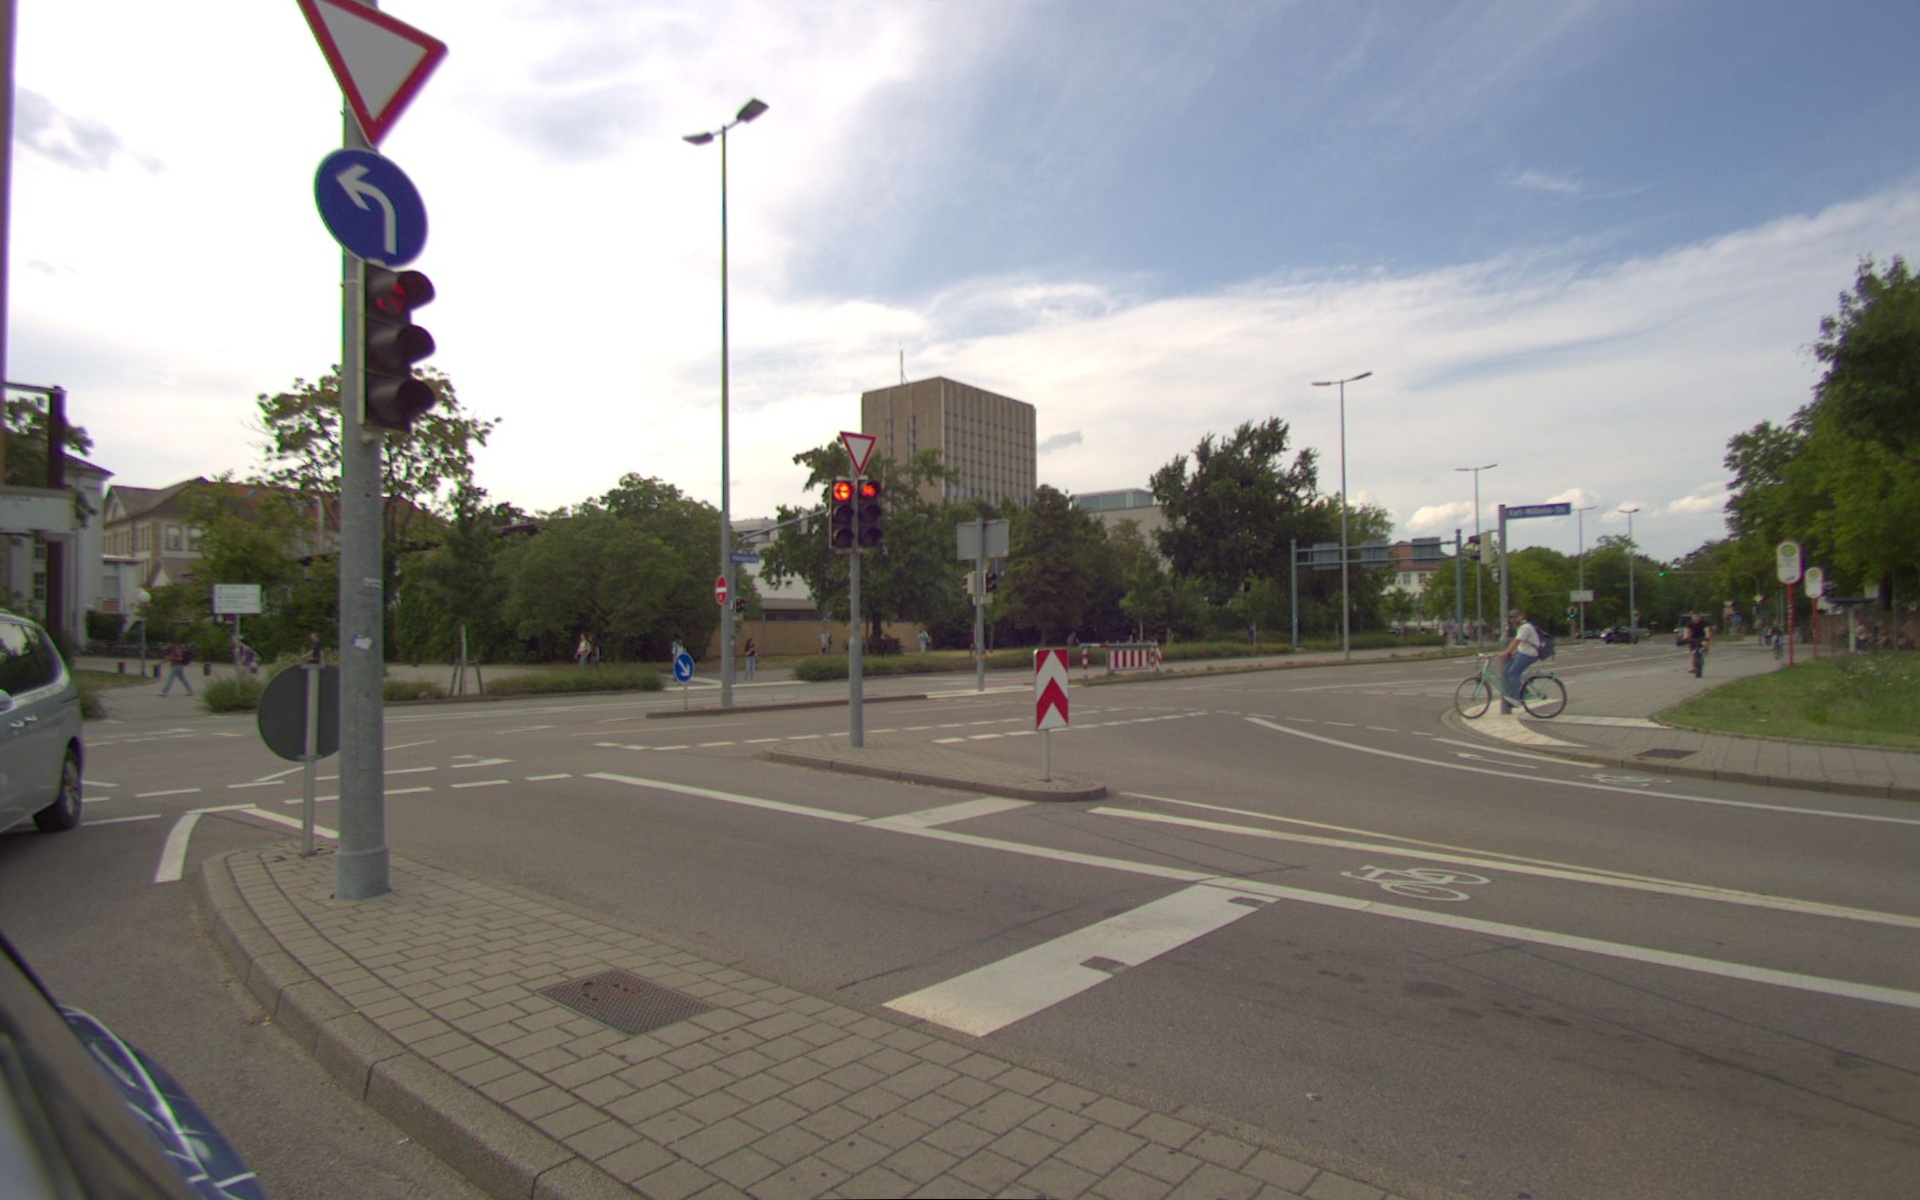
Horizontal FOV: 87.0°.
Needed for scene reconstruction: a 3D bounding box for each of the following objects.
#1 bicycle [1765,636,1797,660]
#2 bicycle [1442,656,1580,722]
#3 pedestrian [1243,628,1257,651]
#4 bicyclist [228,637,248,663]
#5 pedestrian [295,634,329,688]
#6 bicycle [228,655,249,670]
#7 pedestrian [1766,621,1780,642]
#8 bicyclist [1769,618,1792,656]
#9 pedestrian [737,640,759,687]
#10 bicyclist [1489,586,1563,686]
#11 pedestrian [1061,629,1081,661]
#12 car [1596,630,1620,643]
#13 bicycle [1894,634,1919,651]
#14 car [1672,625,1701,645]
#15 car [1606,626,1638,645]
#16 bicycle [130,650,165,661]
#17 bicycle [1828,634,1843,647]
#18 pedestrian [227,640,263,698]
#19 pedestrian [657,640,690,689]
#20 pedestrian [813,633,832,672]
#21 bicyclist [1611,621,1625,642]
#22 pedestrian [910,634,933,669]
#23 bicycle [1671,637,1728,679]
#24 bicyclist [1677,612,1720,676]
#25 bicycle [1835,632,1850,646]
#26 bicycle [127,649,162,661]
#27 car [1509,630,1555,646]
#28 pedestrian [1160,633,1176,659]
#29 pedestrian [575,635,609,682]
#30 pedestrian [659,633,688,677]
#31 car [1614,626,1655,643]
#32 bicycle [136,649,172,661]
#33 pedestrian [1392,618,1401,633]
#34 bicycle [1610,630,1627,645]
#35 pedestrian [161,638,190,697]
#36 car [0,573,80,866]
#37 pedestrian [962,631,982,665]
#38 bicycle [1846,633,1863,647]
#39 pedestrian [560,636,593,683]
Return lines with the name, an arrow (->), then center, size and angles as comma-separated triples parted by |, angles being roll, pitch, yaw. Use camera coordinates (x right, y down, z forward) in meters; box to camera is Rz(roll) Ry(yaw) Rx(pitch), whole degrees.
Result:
bicycle -> 35.194, 2.049, 43.365 | 1.939, 0.943, 0.507 | -2, -1, -34
bicycle -> 8.900, 1.424, 16.368 | 1.942, 0.943, 0.506 | -2, -1, -4
pedestrian -> 21.864, 2.957, 76.217 | 0.714, 1.724, 0.685 | -5, -4, 42
bicyclist -> -37.291, 2.567, 52.298 | 0.826, 1.287, 1.015 | 0, -4, -35
pedestrian -> -21.178, 1.989, 33.060 | 0.788, 1.724, 0.840 | 1, -4, -44
bicycle -> -37.275, 3.222, 52.278 | 0.829, 0.699, 1.850 | 0, -4, -34
pedestrian -> 64.394, 2.477, 80.166 | 0.753, 1.634, 0.657 | -5, -4, 37
bicyclist -> 35.154, 1.586, 43.369 | 0.784, 1.567, 0.496 | -2, -1, -34
pedestrian -> -7.813, 2.335, 37.313 | 0.579, 1.724, 0.482 | 0, -4, -42
bicyclist -> 9.141, 0.576, 16.363 | 0.786, 1.567, 0.580 | -2, -1, -4
pedestrian -> 6.093, 2.452, 55.468 | 0.683, 1.724, 0.735 | 1, -4, -44
car -> 77.518, 4.355, 120.986 | 1.790, 1.501, 4.072 | 0, -1, 42
bicycle -> 52.210, 2.327, 55.650 | 0.657, 0.894, 1.564 | -5, -4, 22
car -> 57.903, 2.786, 80.630 | 1.698, 1.492, 4.360 | -5, -4, 37
car -> 57.488, 3.059, 87.852 | 1.790, 1.501, 4.072 | 0, -1, 42
bicycle -> -55.160, 3.761, 68.710 | 1.816, 0.699, 0.653 | 0, -4, -40
bicycle -> 60.047, 2.767, 69.391 | 0.432, 0.894, 1.559 | -6, -5, 31
pedestrian -> -21.850, 2.114, 30.919 | 0.788, 1.724, 0.840 | 1, -4, -44
pedestrian -> -10.237, 2.305, 36.169 | 0.827, 1.724, 0.801 | 0, -4, -42
pedestrian -> -6.251, 2.365, 45.942 | 0.544, 1.709, 0.686 | 0, -1, 39
bicyclist -> 54.759, 2.648, 84.203 | 1.070, 1.724, 0.779 | 3, -2, -45
pedestrian -> -1.919, 2.555, 50.321 | 0.841, 1.724, 0.686 | -5, -4, 39
bicycle -> 18.832, 1.472, 25.758 | 1.939, 0.943, 0.507 | -2, -1, -34
bicyclist -> 18.826, 1.111, 25.787 | 0.784, 1.567, 0.581 | -2, -1, -34
bicycle -> 59.090, 2.631, 67.783 | 0.432, 0.894, 1.559 | -6, -5, 31
bicycle -> -54.620, 3.694, 67.830 | 1.816, 0.699, 0.653 | 0, -4, -40
car -> 60.076, 3.984, 106.335 | 1.759, 1.501, 4.143 | 1, 0, -17
pedestrian -> 13.964, 3.110, 67.968 | 0.714, 1.724, 0.685 | -5, -4, 42
pedestrian -> -13.766, 2.192, 37.865 | 0.835, 1.724, 0.792 | -4, -3, 27
pedestrian -> -11.524, 2.213, 40.706 | 0.714, 1.724, 0.789 | -5, -4, 39
car -> 63.899, 3.272, 95.980 | 1.771, 1.501, 4.116 | 0, 0, 11
bicycle -> -51.816, 3.512, 65.093 | 1.816, 0.699, 0.653 | 0, -4, -40
pedestrian -> 53.368, 3.121, 123.718 | 0.769, 1.724, 0.685 | -5, -4, 42
bicycle -> 54.726, 3.151, 84.113 | 0.759, 1.198, 2.068 | 0, -2, 44
pedestrian -> -23.528, 2.015, 30.342 | 0.624, 1.724, 0.674 | 1, -4, -44
car -> -6.703, 0.746, 5.883 | 1.795, 1.747, 4.540 | 0, -4, -33
pedestrian -> 0.607, 2.528, 52.931 | 0.714, 1.724, 0.685 | -5, -4, 42
bicycle -> 57.036, 2.552, 64.550 | 0.432, 0.894, 1.559 | -6, -5, 31
pedestrian -> -14.536, 2.242, 38.335 | 0.835, 1.724, 0.792 | -4, -3, 27
